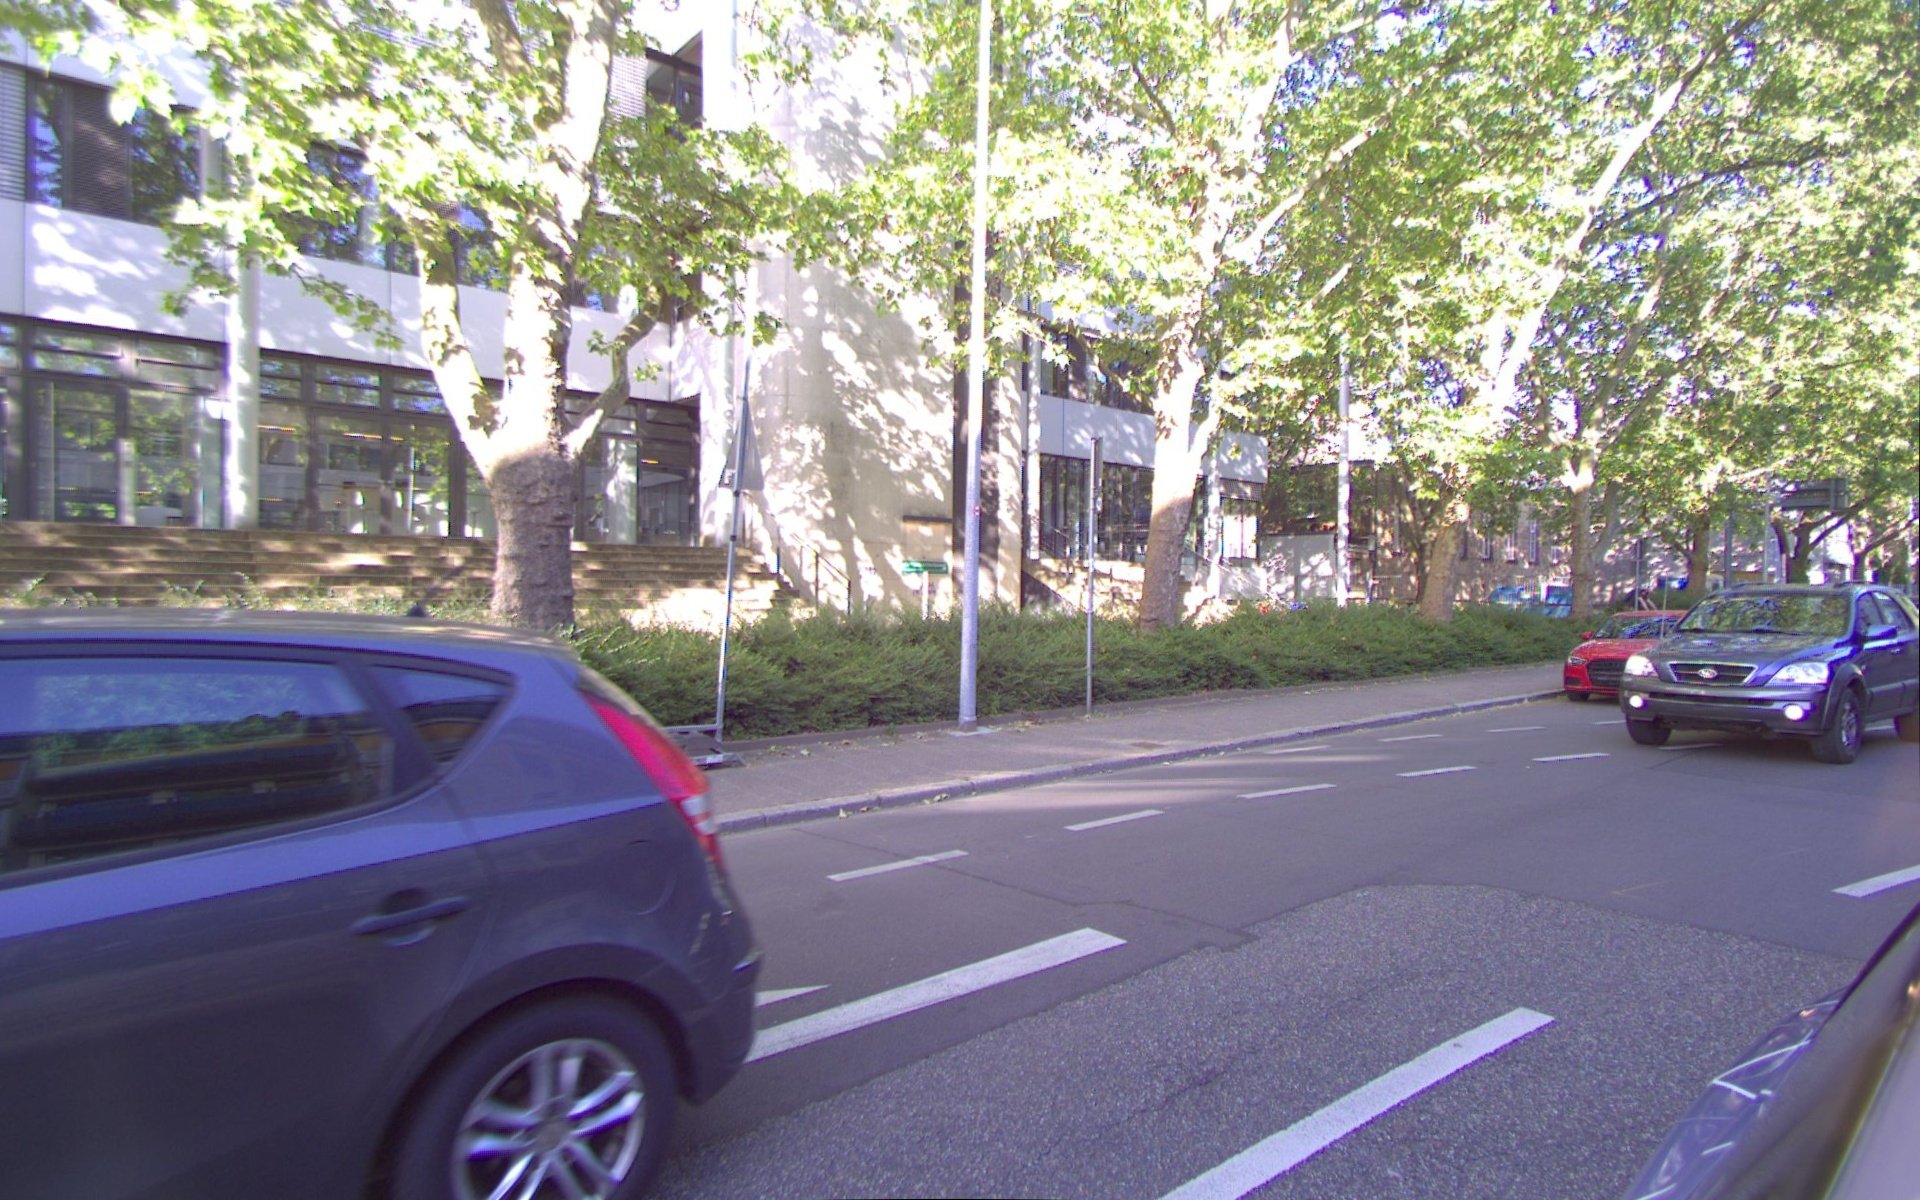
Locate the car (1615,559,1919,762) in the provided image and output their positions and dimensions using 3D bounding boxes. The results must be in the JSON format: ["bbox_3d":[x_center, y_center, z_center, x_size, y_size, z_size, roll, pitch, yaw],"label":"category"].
[{"bbox_3d":[9.050,0.536,10.876,4.300,1.793,1.786,0,-1,-34],"label":"car"}]

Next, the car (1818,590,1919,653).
[{"bbox_3d":[25.966,0.551,28.862,4.022,1.653,1.739,0,1,-42],"label":"car"}]

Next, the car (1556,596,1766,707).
[{"bbox_3d":[11.243,0.732,16.131,4.071,1.548,1.827,0,-1,-42],"label":"car"}]

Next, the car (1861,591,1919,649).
[{"bbox_3d":[29.721,0.580,31.839,3.840,1.708,1.633,0,1,-42],"label":"car"}]

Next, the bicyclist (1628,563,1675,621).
[{"bbox_3d":[20.180,-0.229,29.521,1.034,1.640,0.687,0,0,45],"label":"bicyclist"}]

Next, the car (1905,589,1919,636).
[{"bbox_3d":[38.786,0.492,40.037,3.829,1.818,1.739,0,1,-42],"label":"car"}]

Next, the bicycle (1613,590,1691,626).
[{"bbox_3d":[20.183,0.222,29.523,1.794,1.027,0.723,0,0,45],"label":"bicycle"}]

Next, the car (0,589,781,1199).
[{"bbox_3d":[-2.462,0.729,1.923,3.906,1.501,1.647,0,1,-41],"label":"car"}]
